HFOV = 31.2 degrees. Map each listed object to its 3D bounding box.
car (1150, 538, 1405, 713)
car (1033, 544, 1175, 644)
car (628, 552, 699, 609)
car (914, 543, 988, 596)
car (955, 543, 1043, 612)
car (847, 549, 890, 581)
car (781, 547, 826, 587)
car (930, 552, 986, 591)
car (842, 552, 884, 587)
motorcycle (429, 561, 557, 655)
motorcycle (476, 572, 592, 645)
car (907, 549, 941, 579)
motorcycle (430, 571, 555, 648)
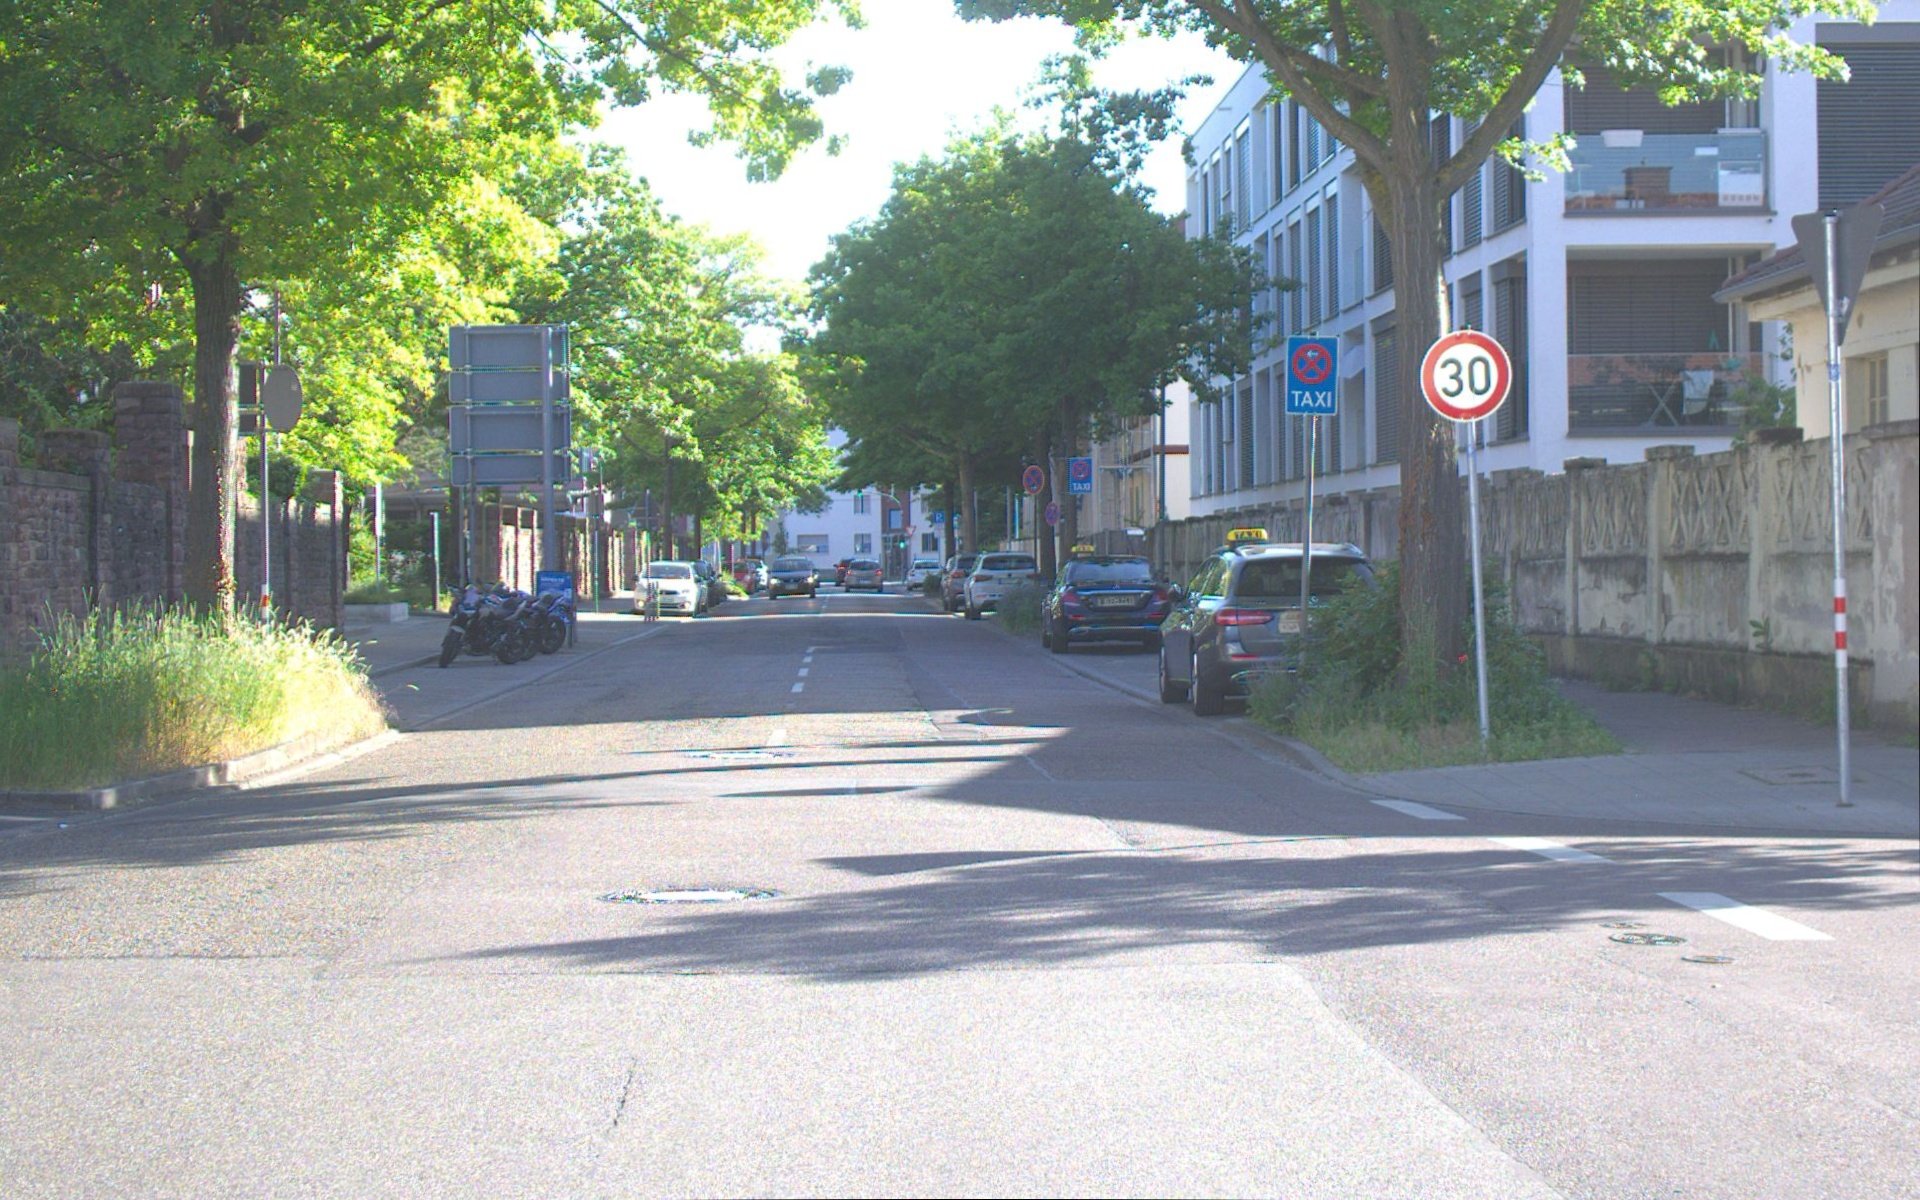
[{"bbox_3d":[2.800,0.178,31.267,1.703,1.463,4.789,0,1,-2],"label":"car"},{"bbox_3d":[2.159,-0.115,52.501,1.767,1.435,4.001,-1,1,-3],"label":"car"},{"bbox_3d":[-8.019,-0.543,93.127,1.767,1.482,4.001,-1,1,-3],"label":"car"},{"bbox_3d":[-0.274,-0.869,97.000,1.993,1.460,3.837,0,1,-1],"label":"car"},{"bbox_3d":[0.902,-0.553,81.171,1.950,1.573,3.837,0,1,-1],"label":"car"},{"bbox_3d":[-4.155,-1.618,156.440,1.889,1.395,3.837,-1,1,-1],"label":"car"},{"bbox_3d":[-6.033,-1.285,132.811,1.653,1.525,4.000,0,1,-2],"label":"car"},{"bbox_3d":[-0.088,-1.083,128.434,1.993,1.420,3.837,0,1,-1],"label":"car"},{"bbox_3d":[-4.428,-1.383,156.241,1.767,1.543,4.066,-1,1,-3],"label":"car"},{"bbox_3d":[-6.613,0.102,48.802,0.577,1.271,2.118,0,1,32],"label":"motorcycle"},{"bbox_3d":[-6.578,0.121,53.154,0.577,1.071,2.118,0,1,32],"label":"motorcycle"},{"bbox_3d":[-1.709,-1.726,162.329,1.585,1.395,3.837,0,1,-1],"label":"car"},{"bbox_3d":[-6.805,0.128,50.147,0.577,1.071,2.118,0,1,32],"label":"motorcycle"}]
